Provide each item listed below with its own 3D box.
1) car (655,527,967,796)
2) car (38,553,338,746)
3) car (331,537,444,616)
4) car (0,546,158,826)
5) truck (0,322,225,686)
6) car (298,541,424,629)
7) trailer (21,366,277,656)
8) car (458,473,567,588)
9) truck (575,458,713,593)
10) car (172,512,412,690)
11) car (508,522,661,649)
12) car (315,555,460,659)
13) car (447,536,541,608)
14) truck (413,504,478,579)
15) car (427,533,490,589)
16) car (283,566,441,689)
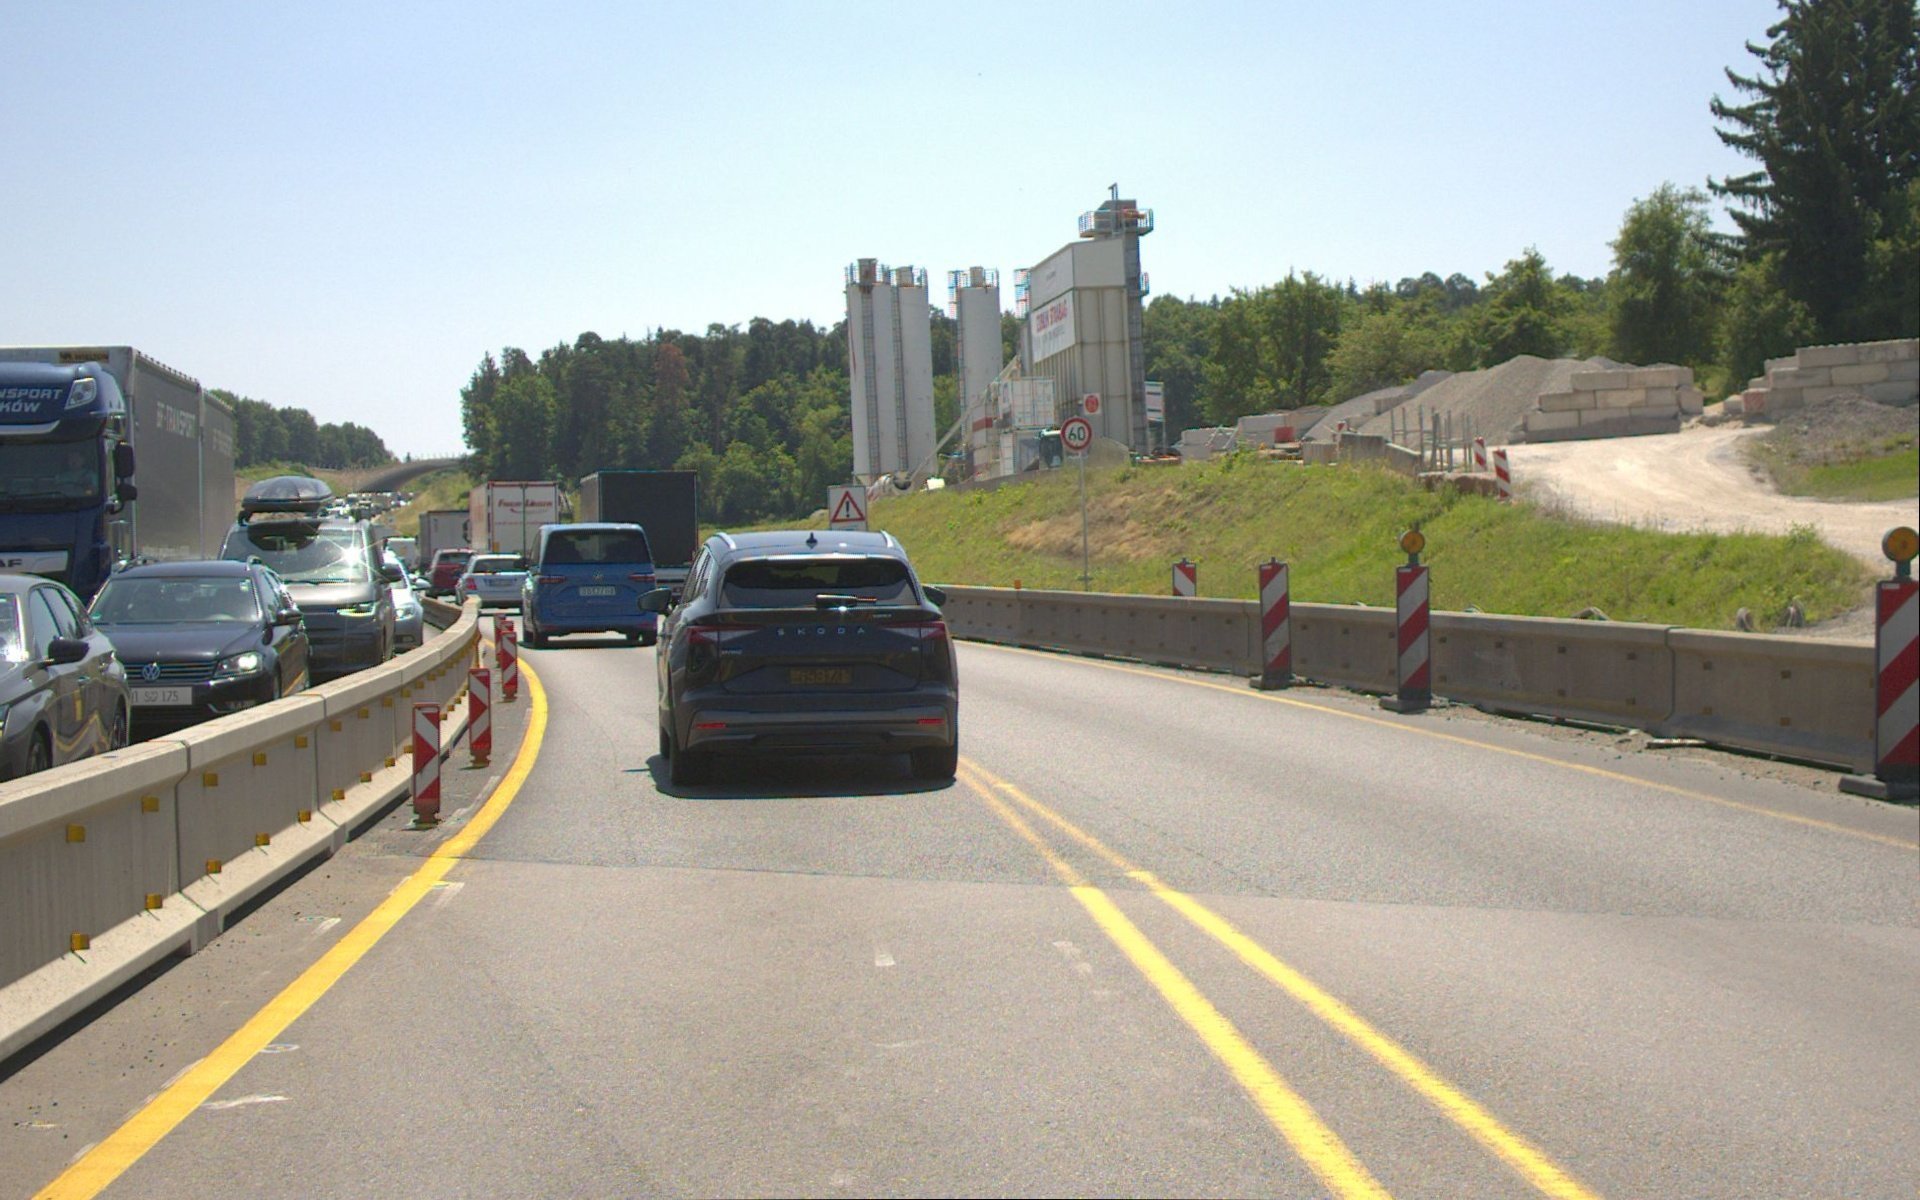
[{"bbox_3d":[-1.069,0.335,22.732,1.842,1.576,4.001,-1,1,-5],"label":"car"},{"bbox_3d":[-6.415,0.350,29.048,1.735,1.441,4.798,-1,1,-4],"label":"car"},{"bbox_3d":[-11.909,-0.522,71.748,2.045,1.521,5.067,-2,1,-7],"label":"car"},{"bbox_3d":[-5.907,0.420,19.792,1.735,1.411,4.798,-1,1,-4],"label":"car"},{"bbox_3d":[-11.632,-1.191,44.701,2.772,4.123,10.873,-2,1,-6],"label":"truck"},{"bbox_3d":[-11.378,-0.317,65.573,2.045,1.521,5.067,-2,1,-7],"label":"car"},{"bbox_3d":[-12.617,-1.383,54.145,2.736,4.123,8.188,-2,1,-6],"label":"trailer"},{"bbox_3d":[-16.765,-2.615,128.236,3.435,4.087,9.200,1,1,-11],"label":"car"},{"bbox_3d":[-7.520,-1.757,81.384,2.672,2.935,5.622,-4,2,-9],"label":"truck"},{"bbox_3d":[-7.224,-0.045,37.647,2.045,1.771,5.067,-1,1,-5],"label":"car"},{"bbox_3d":[-5.873,-0.264,53.372,1.993,1.837,4.001,-2,2,-11],"label":"car"},{"bbox_3d":[-9.254,0.075,55.903,2.045,1.521,5.067,-2,1,-7],"label":"car"},{"bbox_3d":[-11.167,-0.689,82.109,2.045,1.521,5.067,-4,1,-9],"label":"car"},{"bbox_3d":[-30.167,-3.463,201.198,3.474,4.206,10.380,-2,2,-10],"label":"truck"},{"bbox_3d":[-15.458,-1.214,105.986,1.820,1.638,3.866,-1,1,-8],"label":"car"},{"bbox_3d":[-8.118,0.337,46.864,1.993,1.525,4.060,-2,1,-9],"label":"car"}]
